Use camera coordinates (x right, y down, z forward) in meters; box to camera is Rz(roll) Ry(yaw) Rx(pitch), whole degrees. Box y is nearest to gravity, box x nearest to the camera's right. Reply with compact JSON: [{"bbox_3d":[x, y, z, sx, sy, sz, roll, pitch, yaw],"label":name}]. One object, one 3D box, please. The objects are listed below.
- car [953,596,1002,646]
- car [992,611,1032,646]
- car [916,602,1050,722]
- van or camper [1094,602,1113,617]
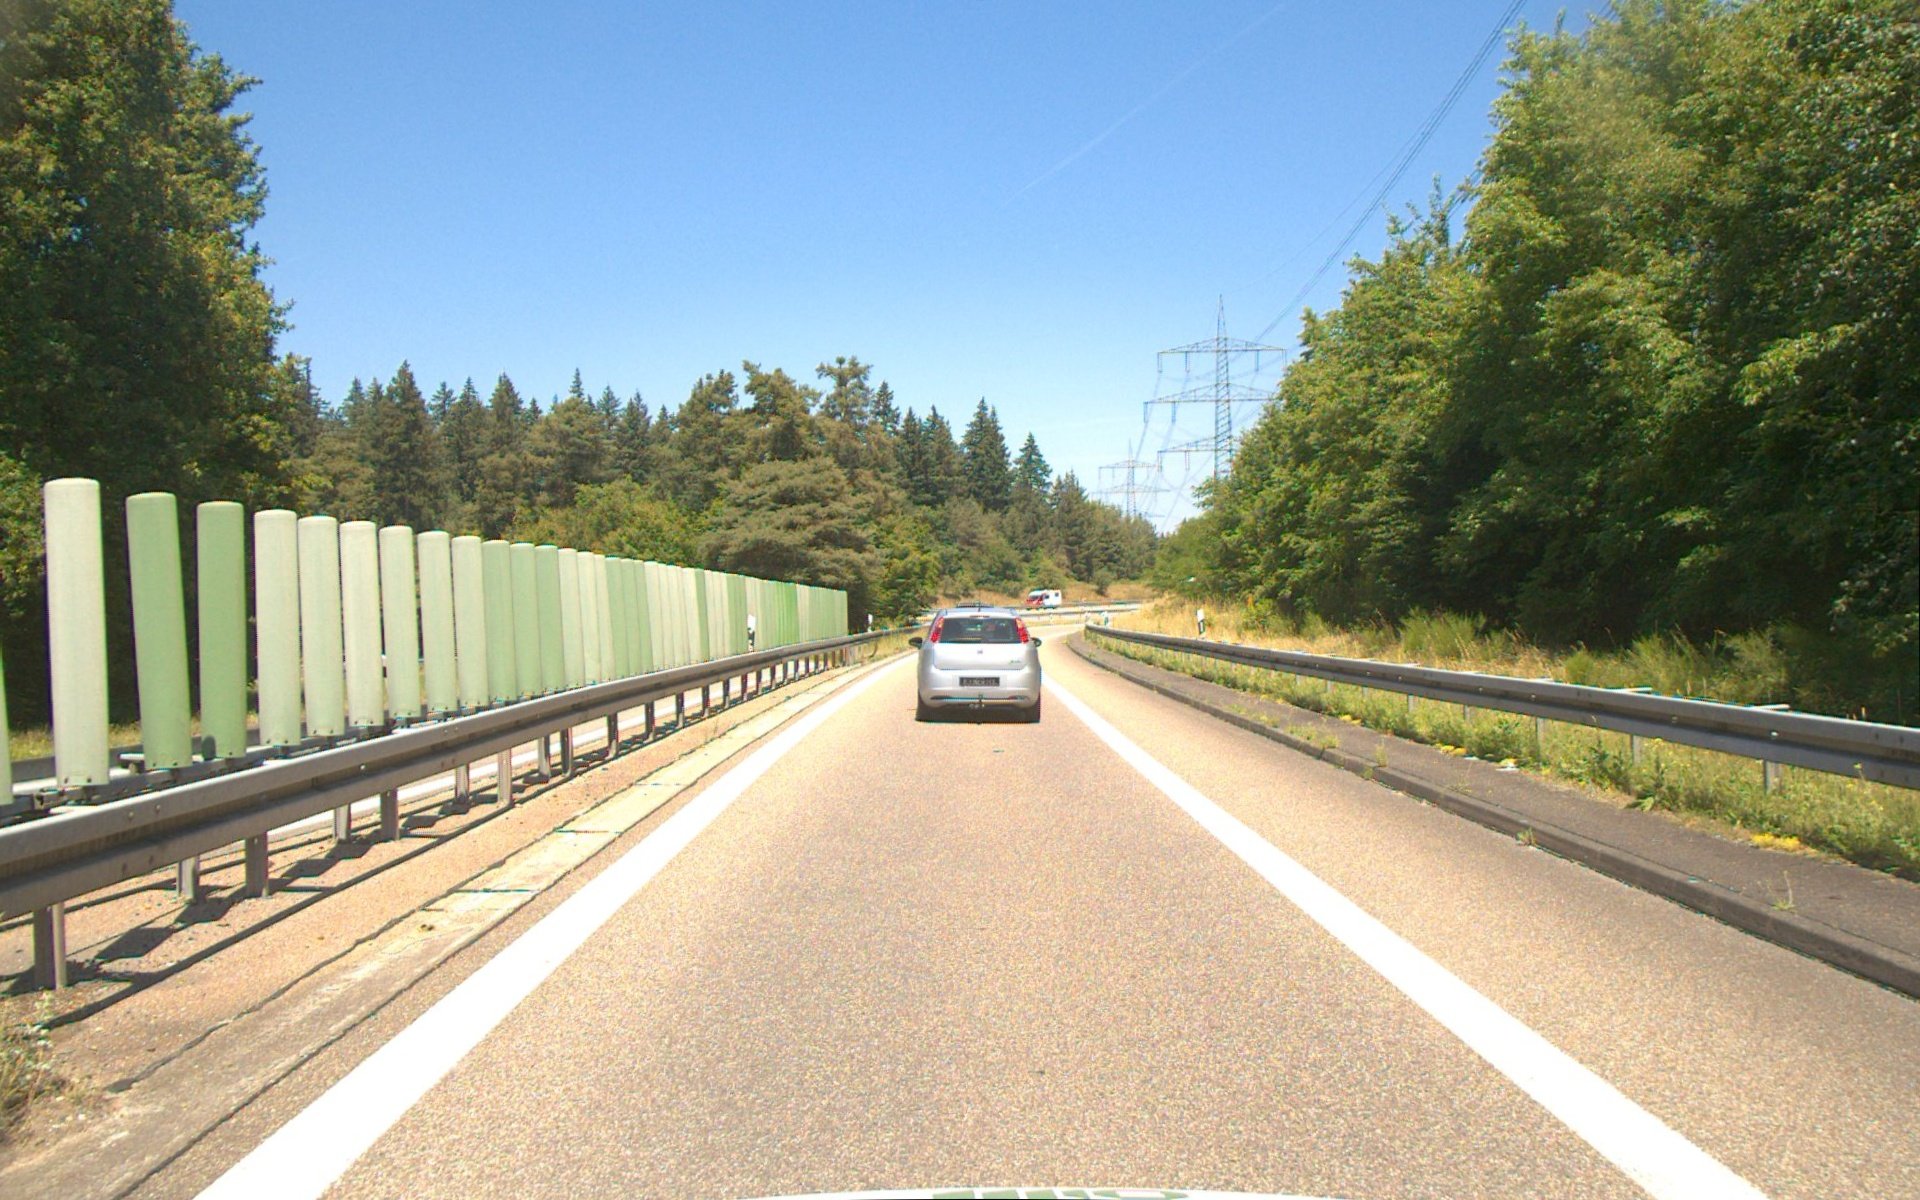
[{"bbox_3d":[0.600,0.725,59.374,1.671,1.705,3.397,0,0,-1],"label":"car"},{"bbox_3d":[2.840,1.520,89.613,1.842,1.713,4.002,-3,0,5],"label":"car"},{"bbox_3d":[0.246,0.793,22.764,1.672,1.507,3.396,0,0,-2],"label":"car"},{"bbox_3d":[15.866,1.046,182.798,1.768,1.512,4.004,0,1,9],"label":"van or camper"}]
